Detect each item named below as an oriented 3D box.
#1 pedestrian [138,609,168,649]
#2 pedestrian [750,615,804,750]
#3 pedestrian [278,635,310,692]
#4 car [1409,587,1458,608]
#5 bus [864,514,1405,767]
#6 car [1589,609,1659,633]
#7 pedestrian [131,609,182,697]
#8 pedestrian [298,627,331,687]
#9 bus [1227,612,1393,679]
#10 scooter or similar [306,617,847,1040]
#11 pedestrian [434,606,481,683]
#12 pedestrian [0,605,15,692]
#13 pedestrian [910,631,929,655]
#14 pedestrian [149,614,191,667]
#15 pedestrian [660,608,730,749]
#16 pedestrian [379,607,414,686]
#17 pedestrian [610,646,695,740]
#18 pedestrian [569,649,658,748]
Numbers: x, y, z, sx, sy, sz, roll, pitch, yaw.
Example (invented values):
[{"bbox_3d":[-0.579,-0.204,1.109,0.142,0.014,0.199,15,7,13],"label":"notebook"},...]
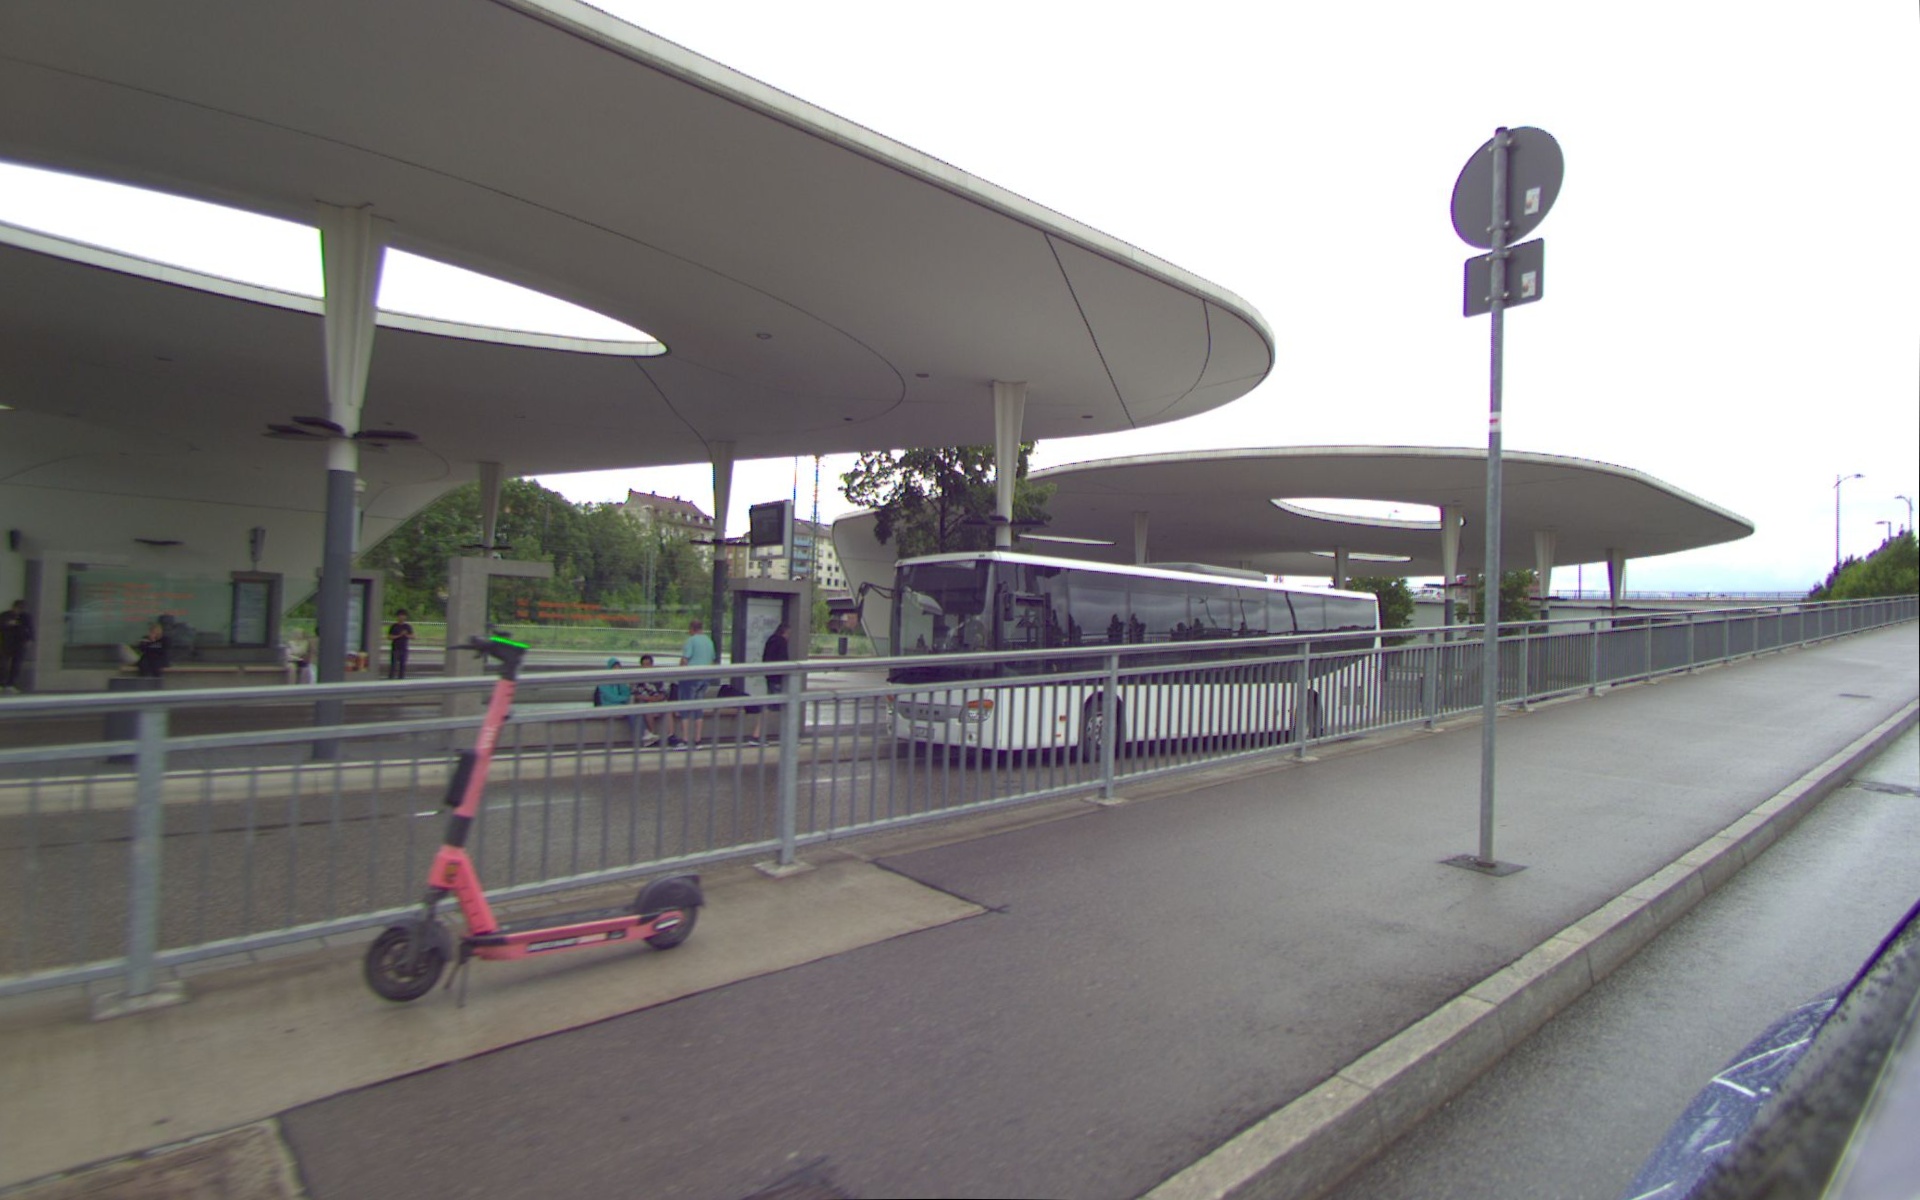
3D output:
[{"bbox_3d":[-28.089,1.000,35.229,0.787,1.342,0.711,-2,-2,-38],"label":"pedestrian"},{"bbox_3d":[-2.687,1.193,14.931,0.637,1.928,0.586,1,-1,1],"label":"pedestrian"},{"bbox_3d":[-13.436,1.277,20.424,0.345,1.094,0.392,2,-1,0],"label":"pedestrian"},{"bbox_3d":[49.015,-0.223,104.881,1.817,1.993,4.206,1,-2,-38],"label":"car"},{"bbox_3d":[4.015,0.897,18.749,12.206,3.407,2.848,4,-5,-42],"label":"bus"},{"bbox_3d":[57.562,1.825,87.777,2.079,1.993,4.673,1,-2,-44],"label":"car"},{"bbox_3d":[-15.252,0.998,19.206,0.667,1.610,0.588,-1,-2,-45],"label":"pedestrian"},{"bbox_3d":[-13.017,1.145,20.414,0.357,1.159,0.396,2,-1,1],"label":"pedestrian"},{"bbox_3d":[21.193,2.625,60.783,11.911,3.299,2.797,-2,-1,-34],"label":"bus"},{"bbox_3d":[-1.311,0.688,3.774,1.827,1.236,0.464,1,-1,-42],"label":"scooter or similar"},{"bbox_3d":[-11.333,0.995,22.843,0.632,1.675,0.638,2,-1,9],"label":"pedestrian"},{"bbox_3d":[-17.069,0.847,17.865,0.512,1.521,0.381,2,-1,-42],"label":"pedestrian"},{"bbox_3d":[-2.318,2.452,57.866,0.698,1.342,0.801,-2,-2,-36],"label":"pedestrian"},{"bbox_3d":[-20.936,1.070,26.831,0.786,1.342,0.711,-2,-2,-33],"label":"pedestrian"},{"bbox_3d":[-3.729,1.088,14.239,0.584,1.911,0.638,1,-3,45],"label":"pedestrian"},{"bbox_3d":[-12.263,1.002,22.031,0.546,1.675,0.571,3,-1,-35],"label":"pedestrian"},{"bbox_3d":[-4.593,1.370,15.111,0.944,1.271,0.643,5,-1,26],"label":"pedestrian"},{"bbox_3d":[-4.962,1.384,14.505,0.944,1.271,0.643,5,-1,26],"label":"pedestrian"}]
